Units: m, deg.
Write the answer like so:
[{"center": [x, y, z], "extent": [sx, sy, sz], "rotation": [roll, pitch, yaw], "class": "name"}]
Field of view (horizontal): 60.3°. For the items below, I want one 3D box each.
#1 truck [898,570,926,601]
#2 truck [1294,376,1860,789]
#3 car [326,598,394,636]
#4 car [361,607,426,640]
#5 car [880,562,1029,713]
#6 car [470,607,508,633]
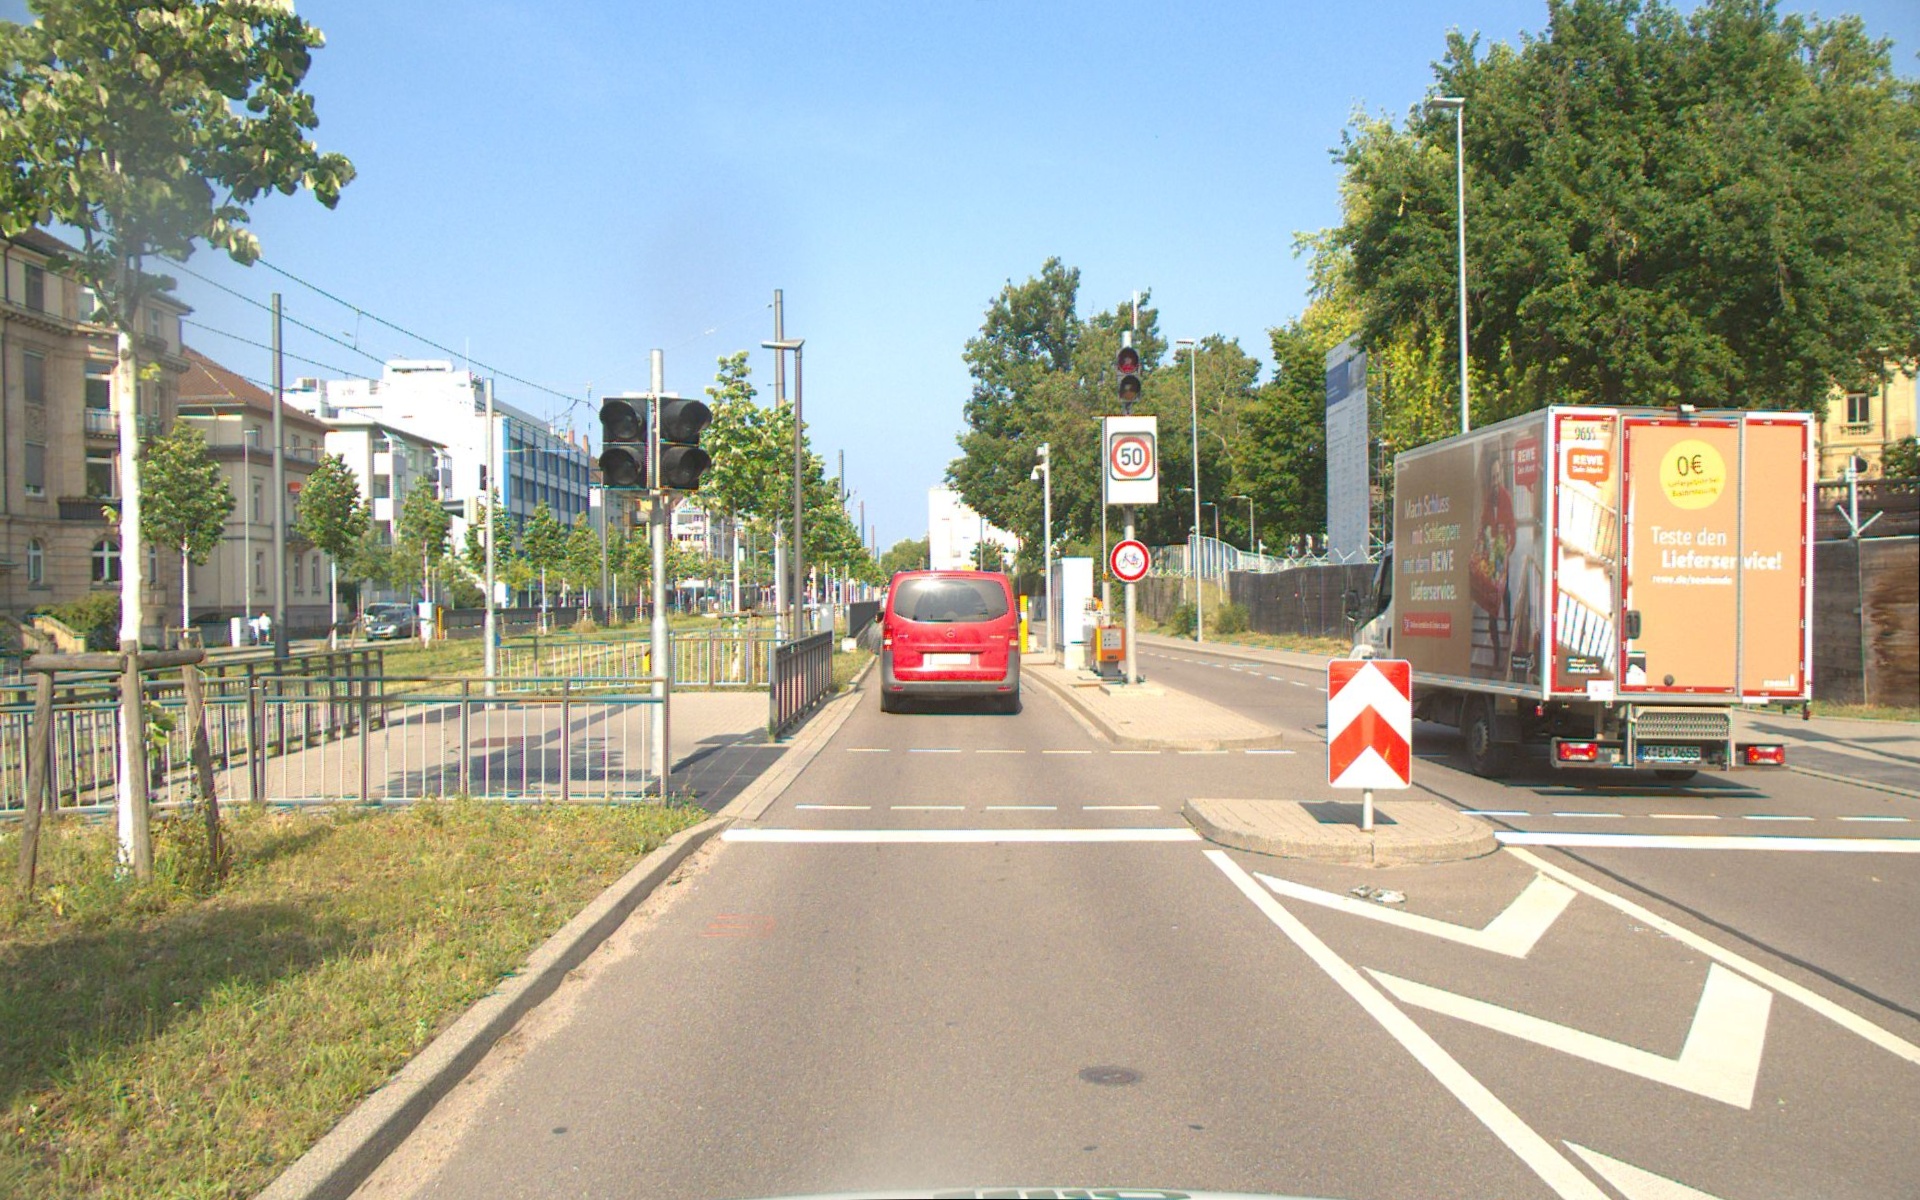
[{"center": [-6.062, -1.816, 208.733], "extent": [3.323, 3.791, 10.446], "rotation": [-1, 0, -3], "class": "truck"}, {"center": [5.523, -0.102, 16.566], "extent": [2.452, 3.114, 7.816], "rotation": [1, -1, -2], "class": "truck"}, {"center": [-34.475, 1.026, 95.127], "extent": [2.205, 2.049, 5.259], "rotation": [1, -2, -3], "class": "car"}, {"center": [-29.236, 1.194, 85.422], "extent": [1.954, 1.604, 4.526], "rotation": [-2, 0, -3], "class": "car"}, {"center": [-0.093, 0.475, 22.946], "extent": [1.862, 1.892, 3.999], "rotation": [1, 0, -1], "class": "car"}, {"center": [-29.654, 1.242, 104.180], "extent": [1.488, 1.489, 3.822], "rotation": [-2, 1, -3], "class": "car"}]
